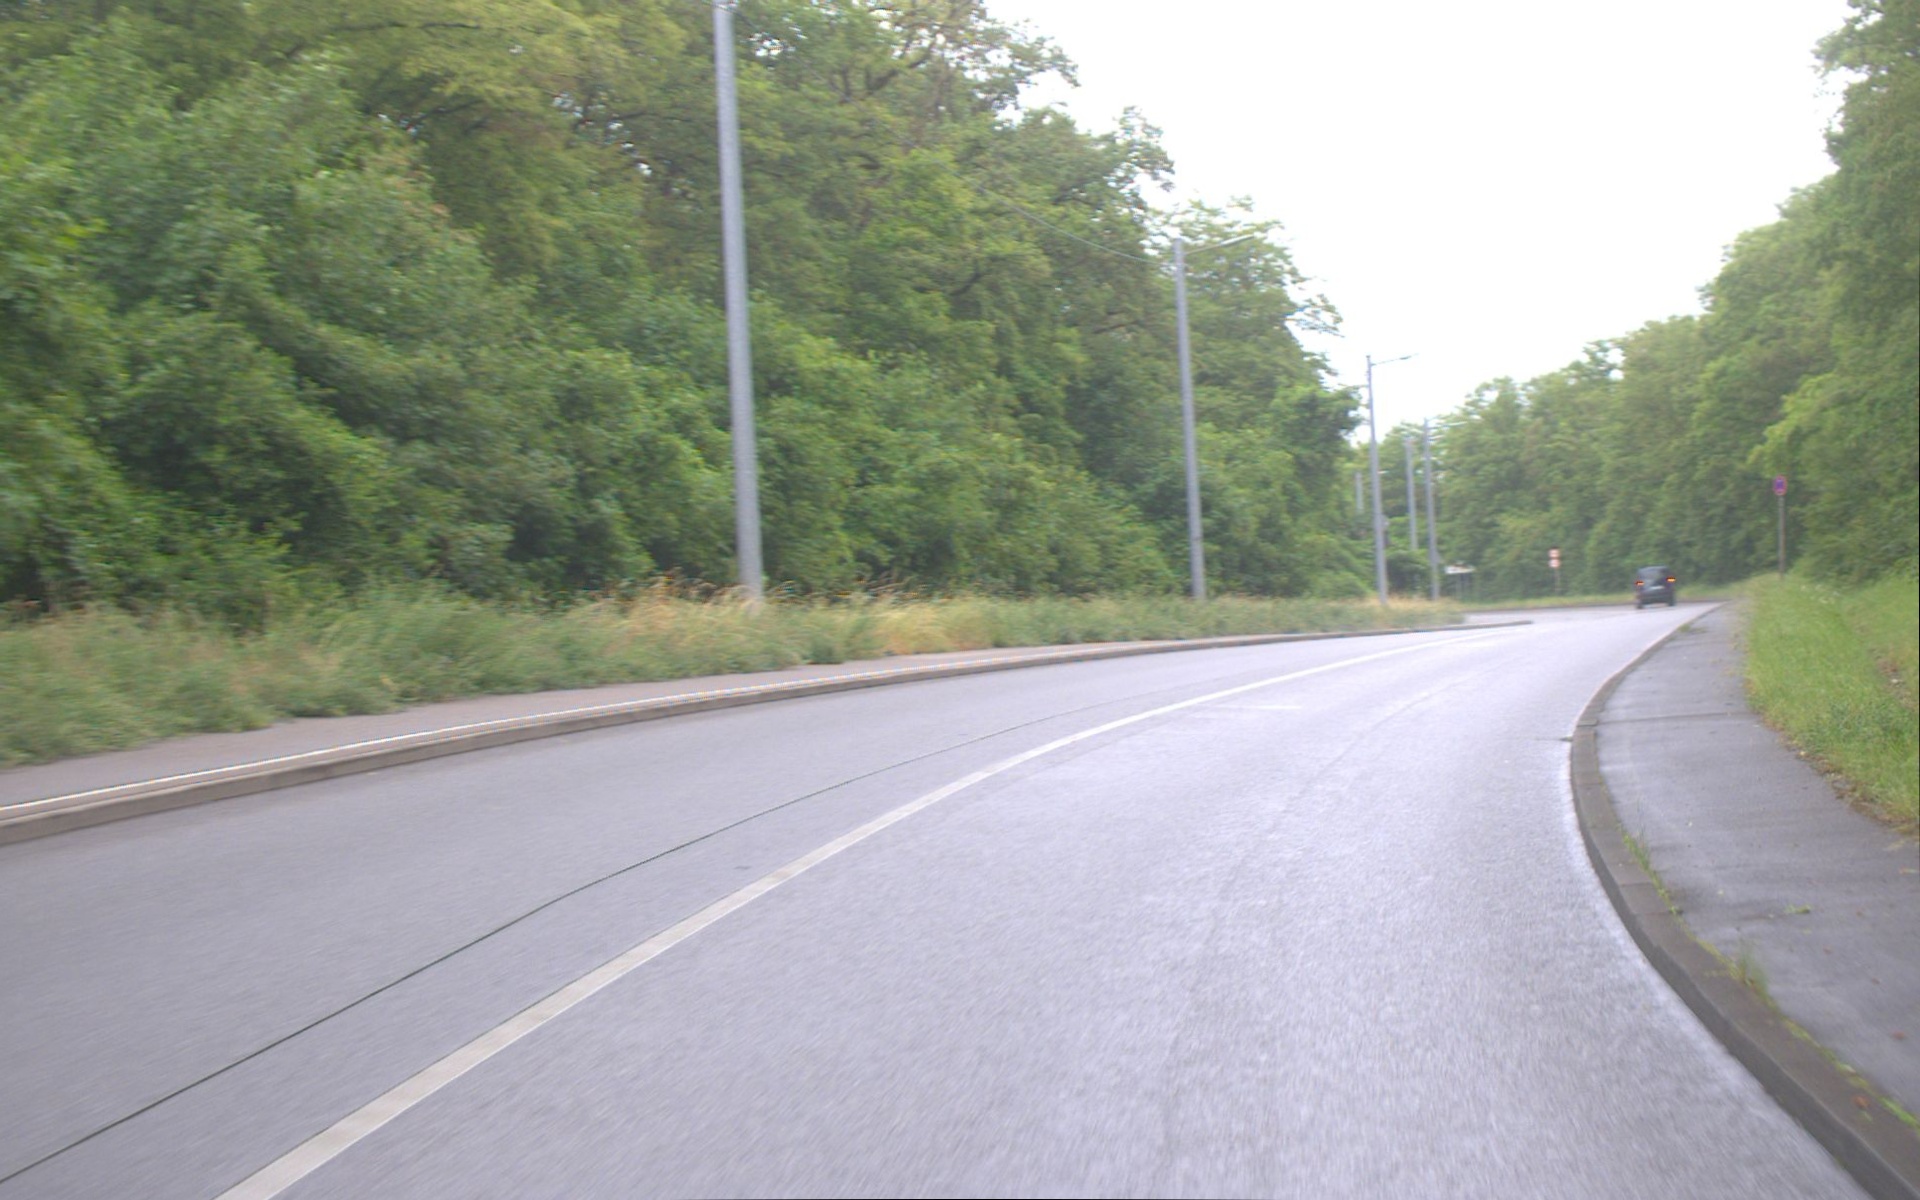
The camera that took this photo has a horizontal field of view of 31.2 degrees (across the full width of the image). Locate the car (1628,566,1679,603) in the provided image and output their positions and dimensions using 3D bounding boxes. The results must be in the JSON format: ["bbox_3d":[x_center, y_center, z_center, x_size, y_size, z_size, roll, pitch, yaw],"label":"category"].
[{"bbox_3d":[31.586,-0.691,156.658,1.868,1.590,3.999,1,0,6],"label":"car"}]
